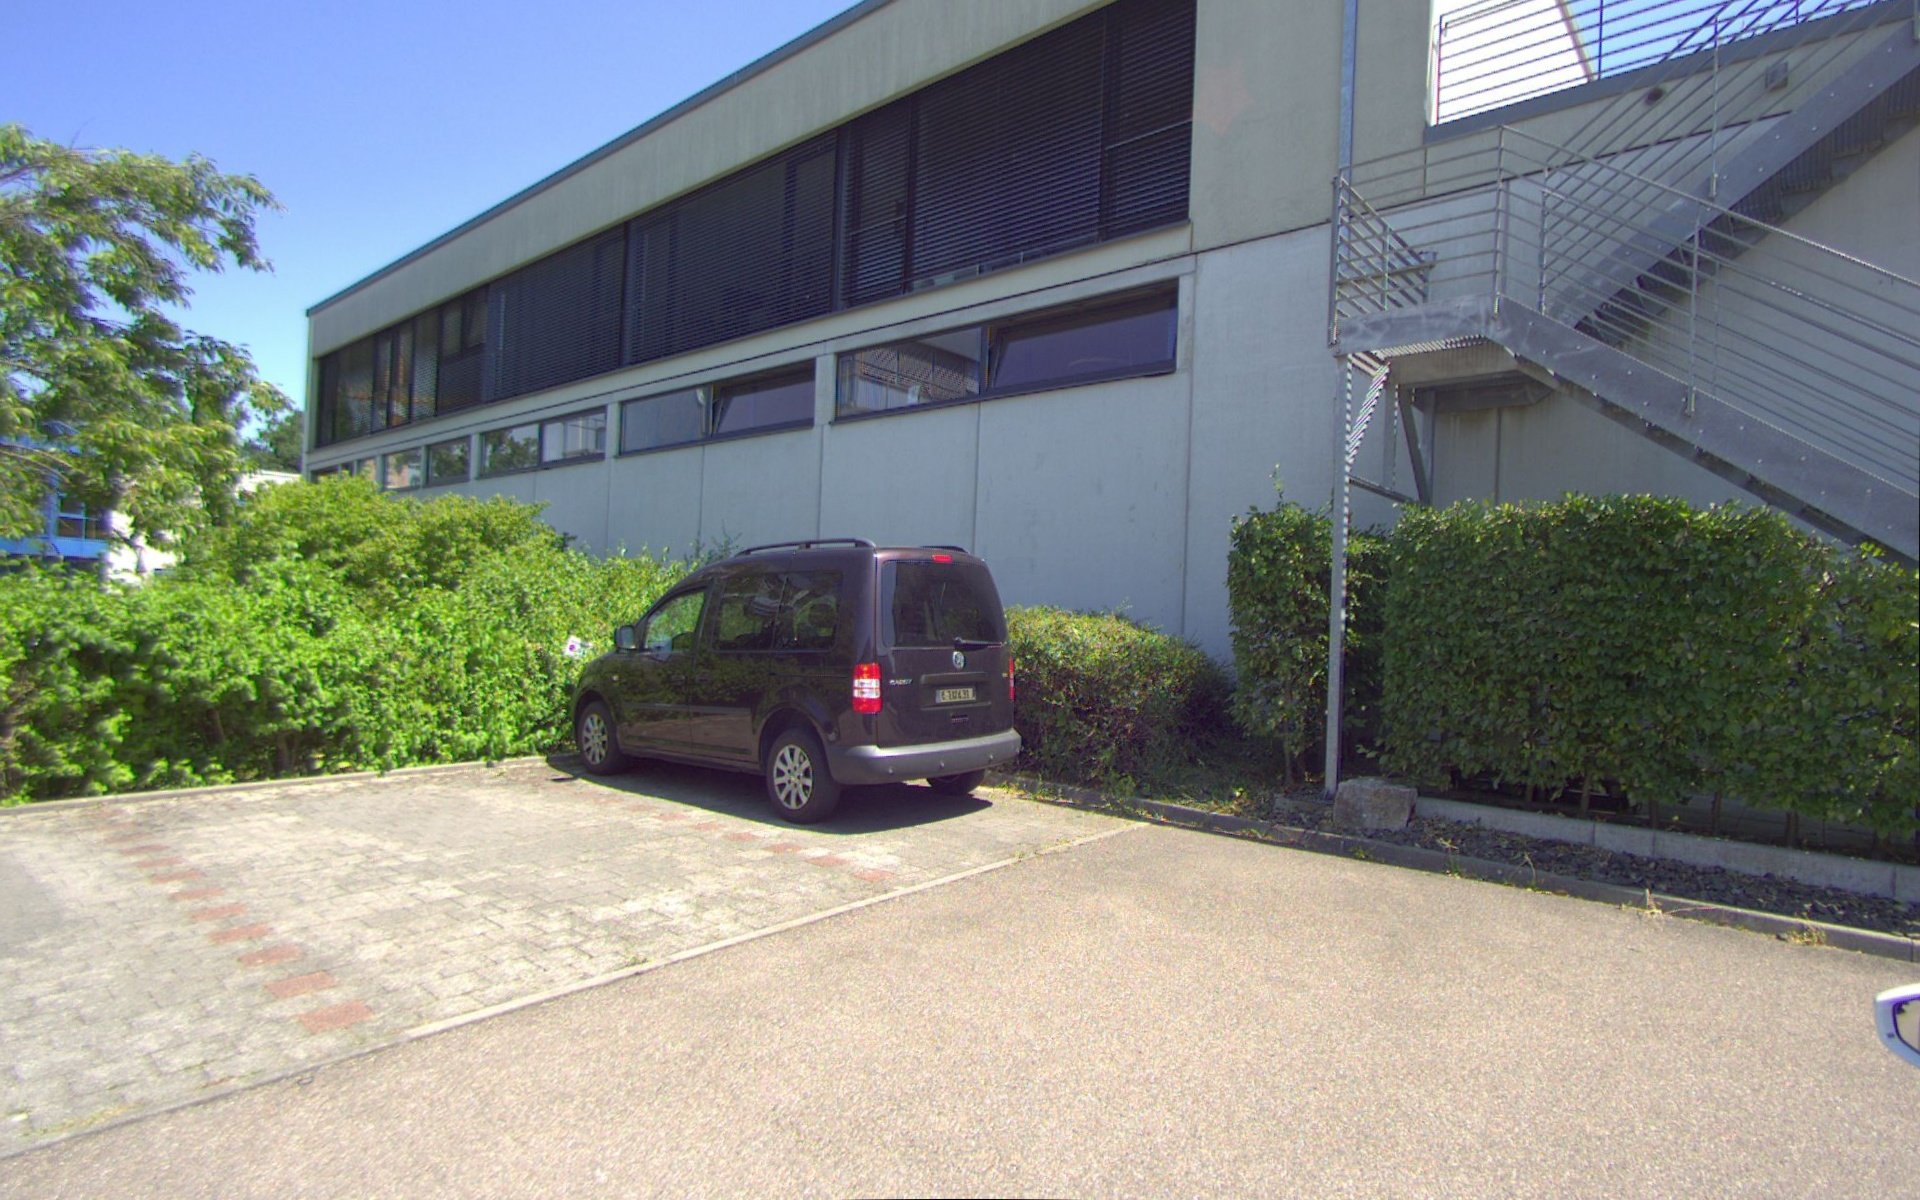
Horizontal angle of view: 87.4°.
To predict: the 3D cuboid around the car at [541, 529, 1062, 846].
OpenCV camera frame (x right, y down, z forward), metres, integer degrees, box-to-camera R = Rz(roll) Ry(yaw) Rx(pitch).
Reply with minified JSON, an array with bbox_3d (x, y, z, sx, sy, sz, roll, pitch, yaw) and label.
[{"bbox_3d":[-1.436,0.511,8.037,4.166,1.885,1.859,1,0,41],"label":"car"}]
